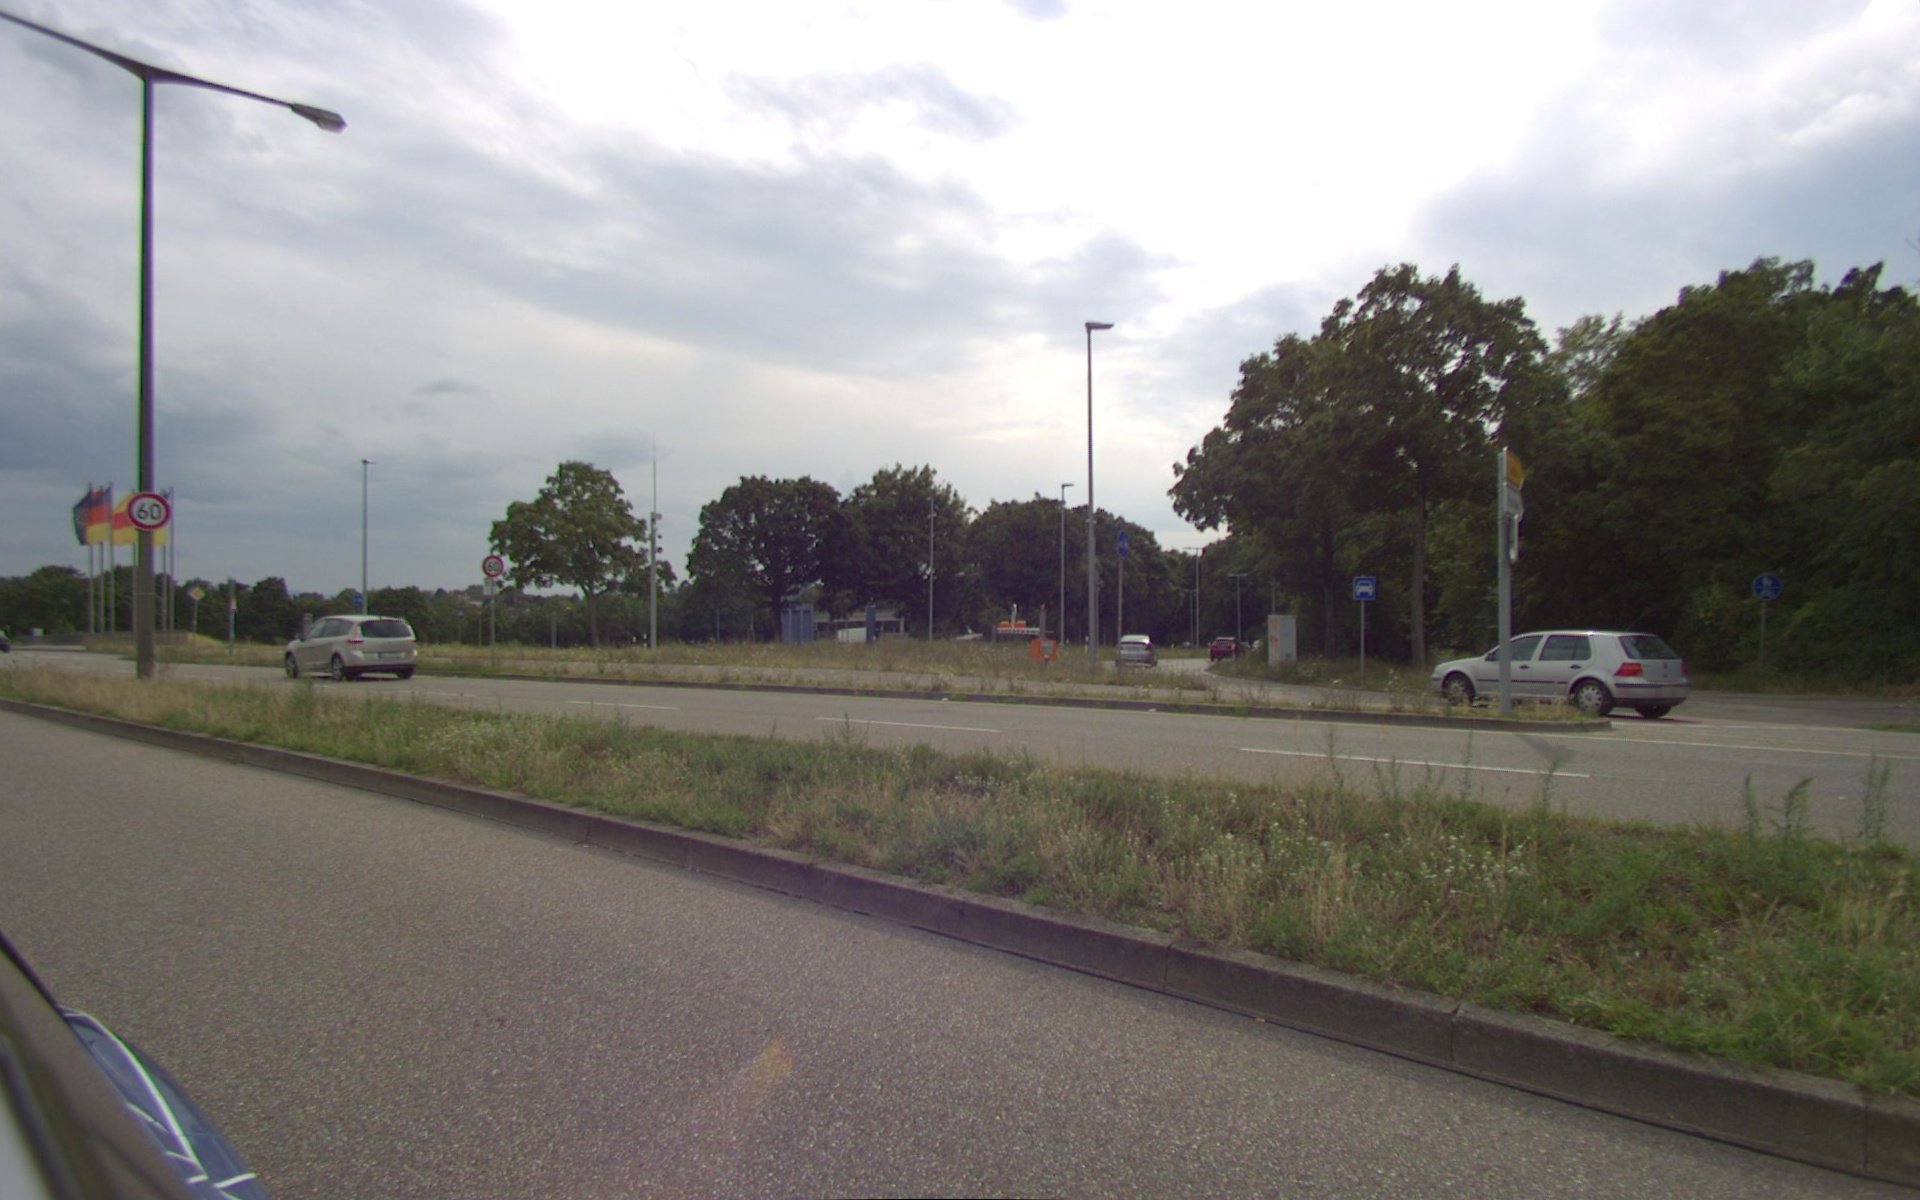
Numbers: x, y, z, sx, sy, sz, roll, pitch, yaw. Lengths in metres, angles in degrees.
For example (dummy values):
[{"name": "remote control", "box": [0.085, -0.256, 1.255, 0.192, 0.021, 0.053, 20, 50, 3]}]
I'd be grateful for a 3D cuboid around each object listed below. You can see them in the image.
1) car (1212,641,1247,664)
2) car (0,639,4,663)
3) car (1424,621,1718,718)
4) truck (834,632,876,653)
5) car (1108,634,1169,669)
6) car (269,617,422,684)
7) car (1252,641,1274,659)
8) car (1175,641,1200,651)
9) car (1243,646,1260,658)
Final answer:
[{"name": "car", "box": [17.236, 3.338, 64.619, 1.508, 1.378, 4.144, -2, -2, 24]}, {"name": "car", "box": [-62.932, 3.278, 64.883, 4.558, 1.487, 1.728, -2, -2, 38]}, {"name": "car", "box": [10.391, 1.098, 17.571, 1.642, 1.430, 4.105, 0, -1, -27]}, {"name": "truck", "box": [-23.116, 9.321, 223.740, 3.009, 4.376, 13.902, -2, -1, 22]}, {"name": "car", "box": [8.090, 2.273, 45.602, 1.739, 1.457, 4.427, -2, -2, 23]}, {"name": "car", "box": [-15.963, 1.292, 26.226, 4.554, 1.610, 1.730, -2, -2, 35]}, {"name": "car", "box": [23.443, 3.853, 78.255, 1.265, 1.283, 2.984, -2, -2, 24]}, {"name": "car", "box": [34.450, 6.933, 153.187, 1.547, 1.407, 3.891, 0, -2, -28]}, {"name": "car", "box": [37.297, 6.593, 129.464, 1.556, 1.407, 3.869, -1, -2, 8]}]
